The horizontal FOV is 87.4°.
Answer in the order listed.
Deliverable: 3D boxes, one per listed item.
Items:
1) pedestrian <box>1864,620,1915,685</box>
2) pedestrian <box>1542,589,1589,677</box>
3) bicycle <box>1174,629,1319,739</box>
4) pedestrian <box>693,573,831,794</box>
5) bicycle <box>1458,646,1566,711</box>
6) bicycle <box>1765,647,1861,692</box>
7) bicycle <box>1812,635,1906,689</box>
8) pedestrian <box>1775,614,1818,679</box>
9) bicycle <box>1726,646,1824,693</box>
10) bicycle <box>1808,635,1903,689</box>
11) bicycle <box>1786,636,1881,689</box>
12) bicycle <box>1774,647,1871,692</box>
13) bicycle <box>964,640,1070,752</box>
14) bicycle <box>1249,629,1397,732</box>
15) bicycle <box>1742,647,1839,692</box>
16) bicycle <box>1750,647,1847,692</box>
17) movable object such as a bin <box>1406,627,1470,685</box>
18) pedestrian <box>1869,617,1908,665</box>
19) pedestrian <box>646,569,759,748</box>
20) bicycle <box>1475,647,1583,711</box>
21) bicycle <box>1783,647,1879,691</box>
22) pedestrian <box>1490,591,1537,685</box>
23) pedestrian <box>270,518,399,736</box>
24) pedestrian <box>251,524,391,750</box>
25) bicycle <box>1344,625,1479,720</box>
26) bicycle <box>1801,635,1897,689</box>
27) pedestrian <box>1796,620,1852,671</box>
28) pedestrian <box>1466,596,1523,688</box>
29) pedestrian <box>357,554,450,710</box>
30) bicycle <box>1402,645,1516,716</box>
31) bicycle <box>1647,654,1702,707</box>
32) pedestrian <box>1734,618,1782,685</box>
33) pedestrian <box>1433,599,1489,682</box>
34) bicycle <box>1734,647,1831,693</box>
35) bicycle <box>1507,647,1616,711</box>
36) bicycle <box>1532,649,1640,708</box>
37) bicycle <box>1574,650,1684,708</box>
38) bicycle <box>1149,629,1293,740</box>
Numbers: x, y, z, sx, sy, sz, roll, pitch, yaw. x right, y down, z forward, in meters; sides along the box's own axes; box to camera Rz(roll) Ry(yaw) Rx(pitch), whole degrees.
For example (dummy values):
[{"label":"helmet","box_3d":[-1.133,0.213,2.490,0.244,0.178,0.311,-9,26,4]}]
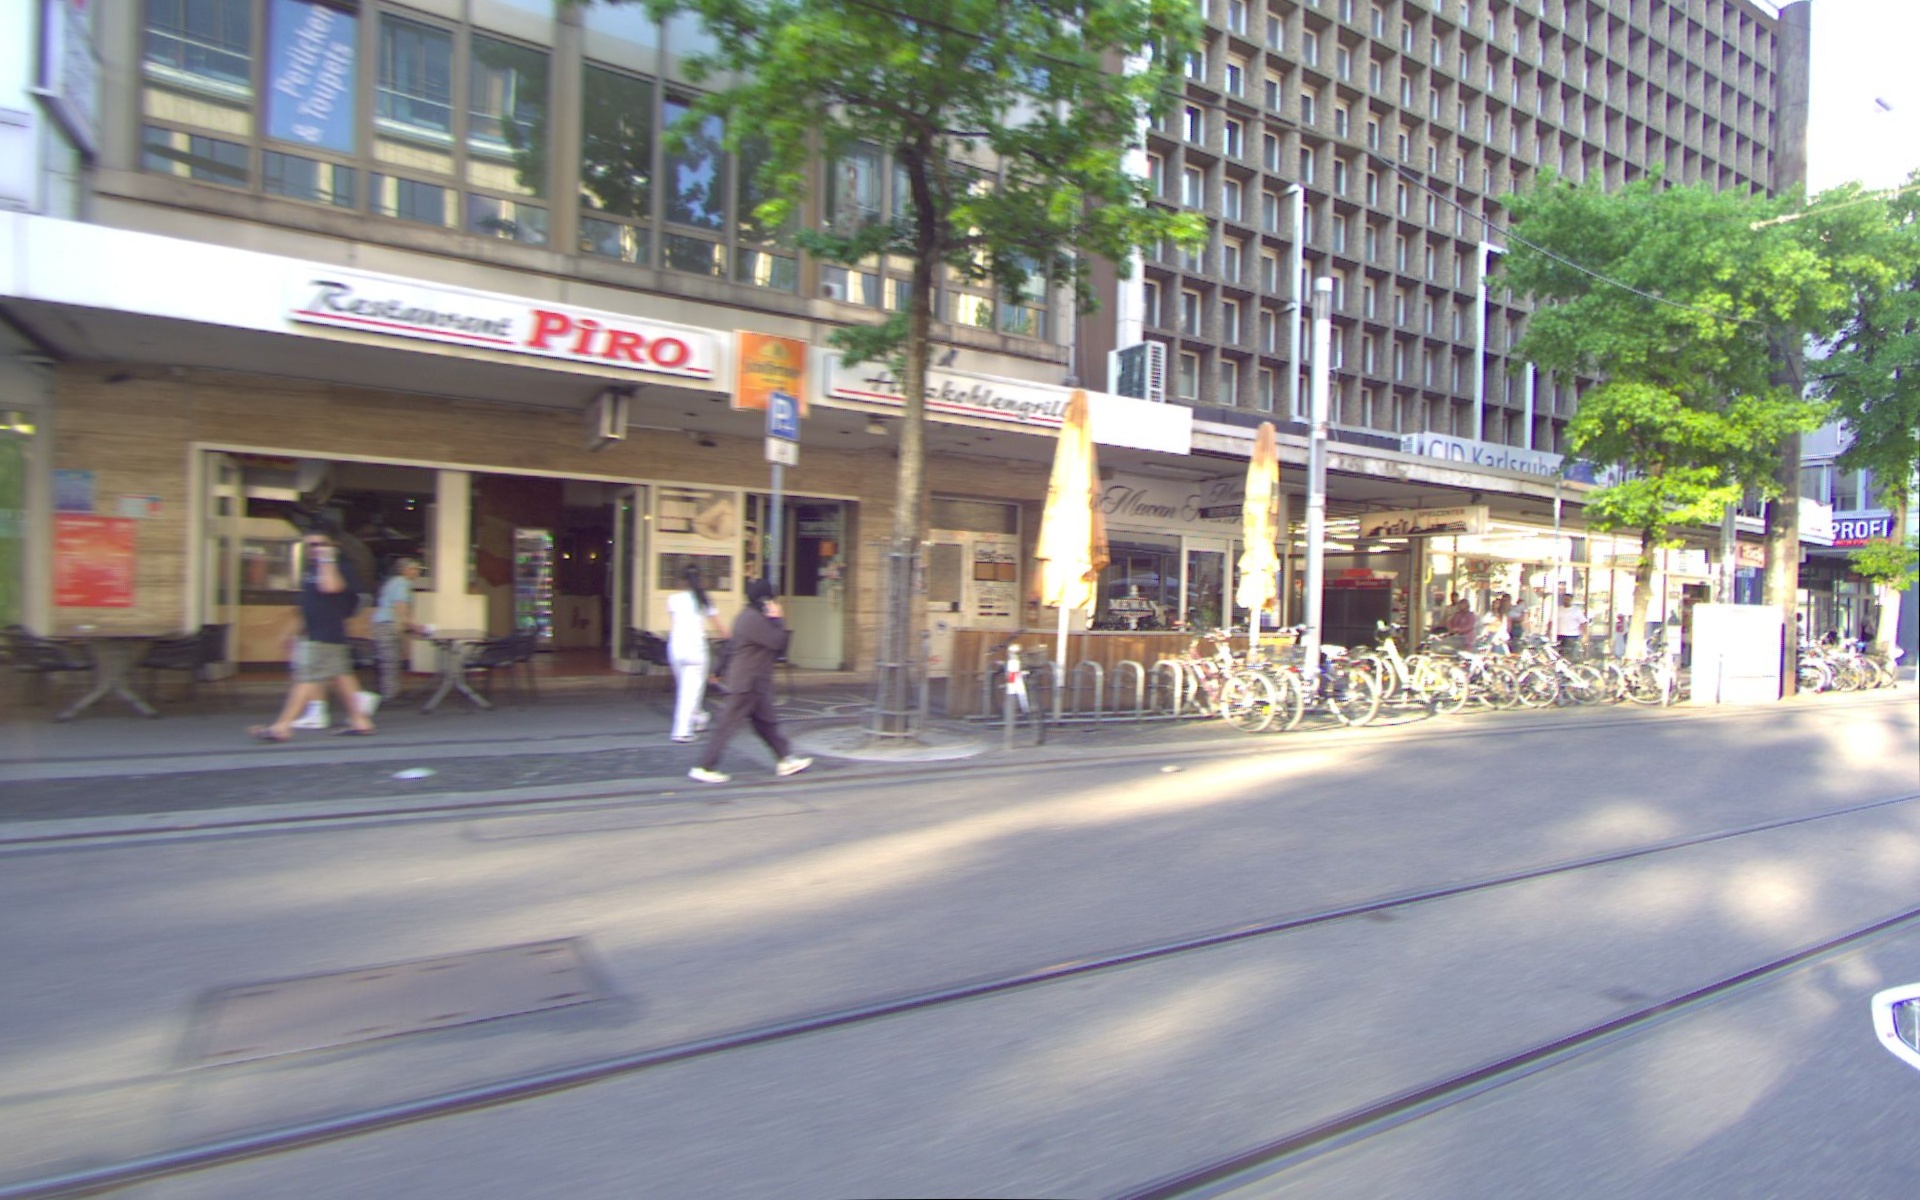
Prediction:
[{"label":"pedestrian","box_3d":[24.305,1.352,26.258,0.970,1.644,0.744,1,0,-33]},{"label":"pedestrian","box_3d":[12.562,0.672,20.851,0.775,1.790,0.535,1,0,36]},{"label":"bicycle","box_3d":[3.302,0.935,11.730,0.373,1.092,1.778,1,1,-34]},{"label":"pedestrian","box_3d":[-1.511,0.599,7.636,0.842,1.571,0.619,1,2,-30]},{"label":"bicycle","box_3d":[8.470,1.192,15.478,0.340,0.852,1.486,1,1,-28]},{"label":"bicycle","box_3d":[17.659,1.430,20.826,0.340,0.794,1.486,1,1,-28]},{"label":"bicycle","box_3d":[19.782,1.348,22.119,0.342,1.042,1.480,1,1,-40]},{"label":"pedestrian","box_3d":[23.630,1.286,28.382,0.712,1.785,0.818,1,0,25]},{"label":"bicycle","box_3d":[16.372,1.383,20.217,0.340,0.794,1.486,1,1,-28]},{"label":"bicycle","box_3d":[19.489,1.337,21.890,0.342,1.042,1.480,1,1,-40]},{"label":"bicycle","box_3d":[18.740,1.321,21.583,0.342,1.023,1.480,1,1,-40]},{"label":"bicycle","box_3d":[17.988,1.432,20.985,0.340,0.794,1.486,1,1,-28]},{"label":"bicycle","box_3d":[0.539,0.924,10.142,0.372,0.943,1.591,1,1,-23]},{"label":"bicycle","box_3d":[4.446,0.955,12.438,0.373,1.092,1.835,1,1,-34]},{"label":"bicycle","box_3d":[16.982,1.406,20.573,0.340,0.794,1.486,1,1,-28]},{"label":"bicycle","box_3d":[17.291,1.421,20.748,0.340,0.794,1.486,1,1,-28]},{"label":"movable object such as a bin","box_3d":[8.990,1.037,18.897,0.972,1.053,0.709,1,0,-36]},{"label":"pedestrian","box_3d":[34.135,1.490,36.914,0.970,1.729,0.817,1,0,-32]},{"label":"pedestrian","box_3d":[-2.338,0.508,9.097,0.823,1.529,0.619,1,2,-30]},{"label":"bicycle","box_3d":[8.842,1.205,15.665,0.340,0.852,1.486,1,1,-28]},{"label":"bicycle","box_3d":[18.308,1.442,21.140,0.340,0.794,1.486,1,1,-28]},{"label":"pedestrian","box_3d":[10.841,0.738,19.679,0.704,1.790,0.682,1,0,35]},{"label":"pedestrian","box_3d":[-5.522,0.225,8.913,0.922,1.828,0.619,1,2,-30]},{"label":"pedestrian","box_3d":[-5.263,0.286,8.323,0.922,1.771,0.619,1,2,-30]},{"label":"bicycle","box_3d":[6.262,0.969,14.030,0.372,1.156,1.838,1,1,-28]},{"label":"bicycle","box_3d":[19.177,1.328,21.690,0.342,1.042,1.480,1,1,-40]},{"label":"pedestrian","box_3d":[28.245,1.476,32.859,0.993,1.583,0.981,1,0,9]},{"label":"pedestrian","box_3d":[9.951,0.769,18.711,0.678,1.661,0.709,1,0,-36]},{"label":"pedestrian","box_3d":[-5.777,0.315,10.437,0.800,1.546,0.619,1,2,-30]},{"label":"bicycle","box_3d":[7.292,1.152,14.736,0.341,0.888,1.482,1,1,-35]},{"label":"bicycle","box_3d":[11.781,1.309,16.540,1.393,0.794,0.341,1,1,-39]},{"label":"pedestrian","box_3d":[22.016,1.409,27.702,0.771,1.785,0.811,1,0,-32]},{"label":"pedestrian","box_3d":[9.667,0.771,19.390,0.678,1.568,0.709,1,0,-36]},{"label":"bicycle","box_3d":[16.675,1.397,20.395,0.340,0.794,1.486,1,1,-28]},{"label":"bicycle","box_3d":[9.443,1.224,15.819,0.340,0.852,1.486,1,1,-28]},{"label":"bicycle","box_3d":[10.054,1.249,16.181,0.340,0.794,1.486,1,1,-28]},{"label":"bicycle","box_3d":[10.798,1.253,16.259,0.340,0.794,1.486,1,1,-28]},{"label":"bicycle","box_3d":[2.946,0.923,11.516,0.373,1.092,1.778,1,1,-34]}]
